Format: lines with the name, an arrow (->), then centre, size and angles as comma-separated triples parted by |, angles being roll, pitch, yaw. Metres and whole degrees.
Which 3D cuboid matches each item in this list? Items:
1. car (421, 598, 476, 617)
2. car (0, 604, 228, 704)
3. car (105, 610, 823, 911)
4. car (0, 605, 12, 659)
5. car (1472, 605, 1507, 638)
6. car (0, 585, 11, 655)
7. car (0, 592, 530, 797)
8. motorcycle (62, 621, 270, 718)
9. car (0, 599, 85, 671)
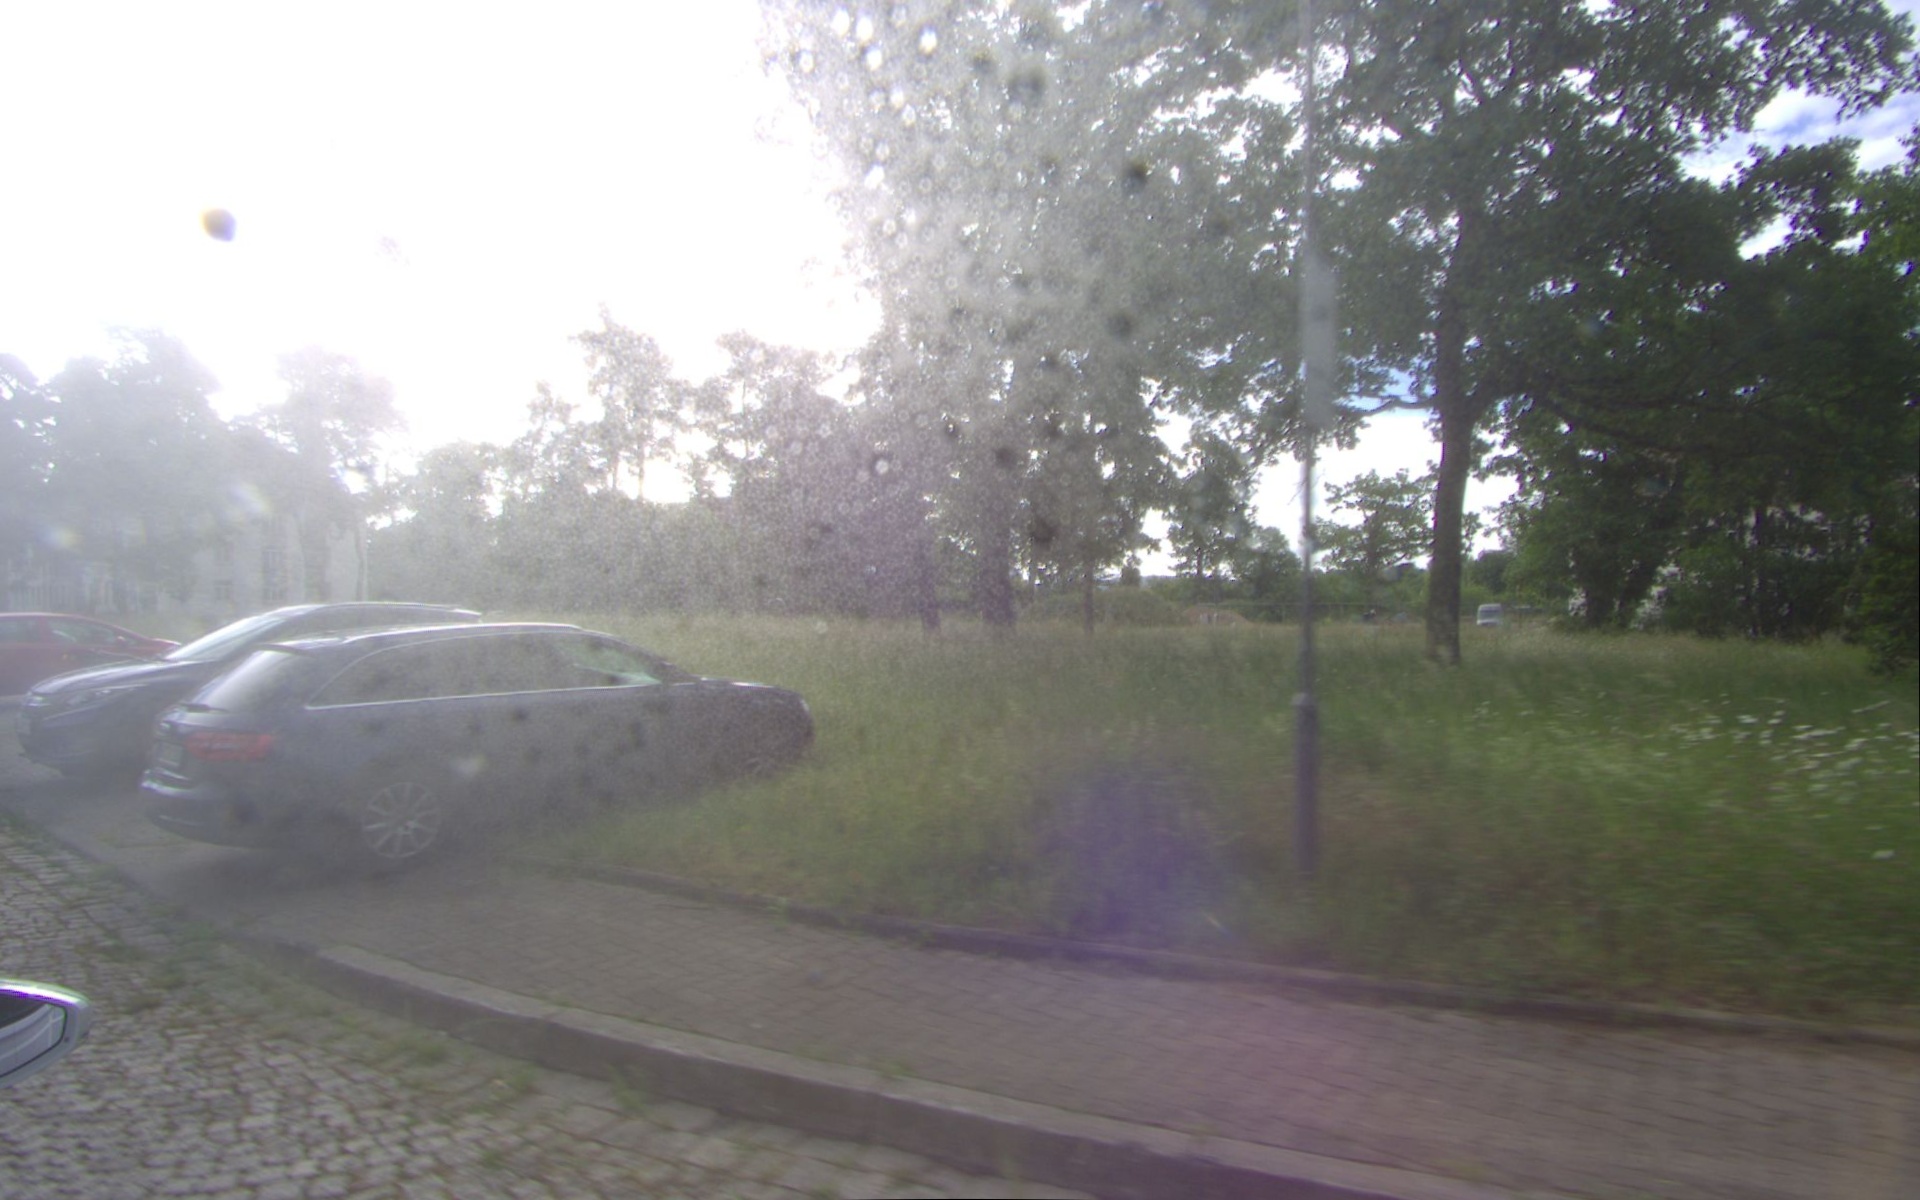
car -> -59.151, 0.885, 115.801 | 2.079, 2.045, 5.283 | 0, -2, 38
car -> -14.817, 0.833, 16.661 | 1.761, 1.516, 3.911 | 0, 0, 35
car -> -3.241, 0.834, 7.342 | 1.903, 1.458, 4.338 | 0, 0, 39
car -> -28.036, 0.886, 26.447 | 1.698, 1.498, 4.087 | 0, 1, 34
car -> 44.390, 1.843, 84.023 | 2.240, 2.674, 5.666 | 0, -2, 25
car -> -30.016, 0.583, 27.988 | 1.940, 2.031, 4.781 | 0, 1, 35
car -> -6.890, 0.749, 10.275 | 1.861, 1.644, 4.232 | 0, 0, 35
motorcycle -> -11.150, 0.931, 14.160 | 0.560, 1.218, 2.223 | 1, 1, 35
car -> -22.930, 0.798, 22.797 | 1.926, 1.616, 4.191 | 0, 1, 35
